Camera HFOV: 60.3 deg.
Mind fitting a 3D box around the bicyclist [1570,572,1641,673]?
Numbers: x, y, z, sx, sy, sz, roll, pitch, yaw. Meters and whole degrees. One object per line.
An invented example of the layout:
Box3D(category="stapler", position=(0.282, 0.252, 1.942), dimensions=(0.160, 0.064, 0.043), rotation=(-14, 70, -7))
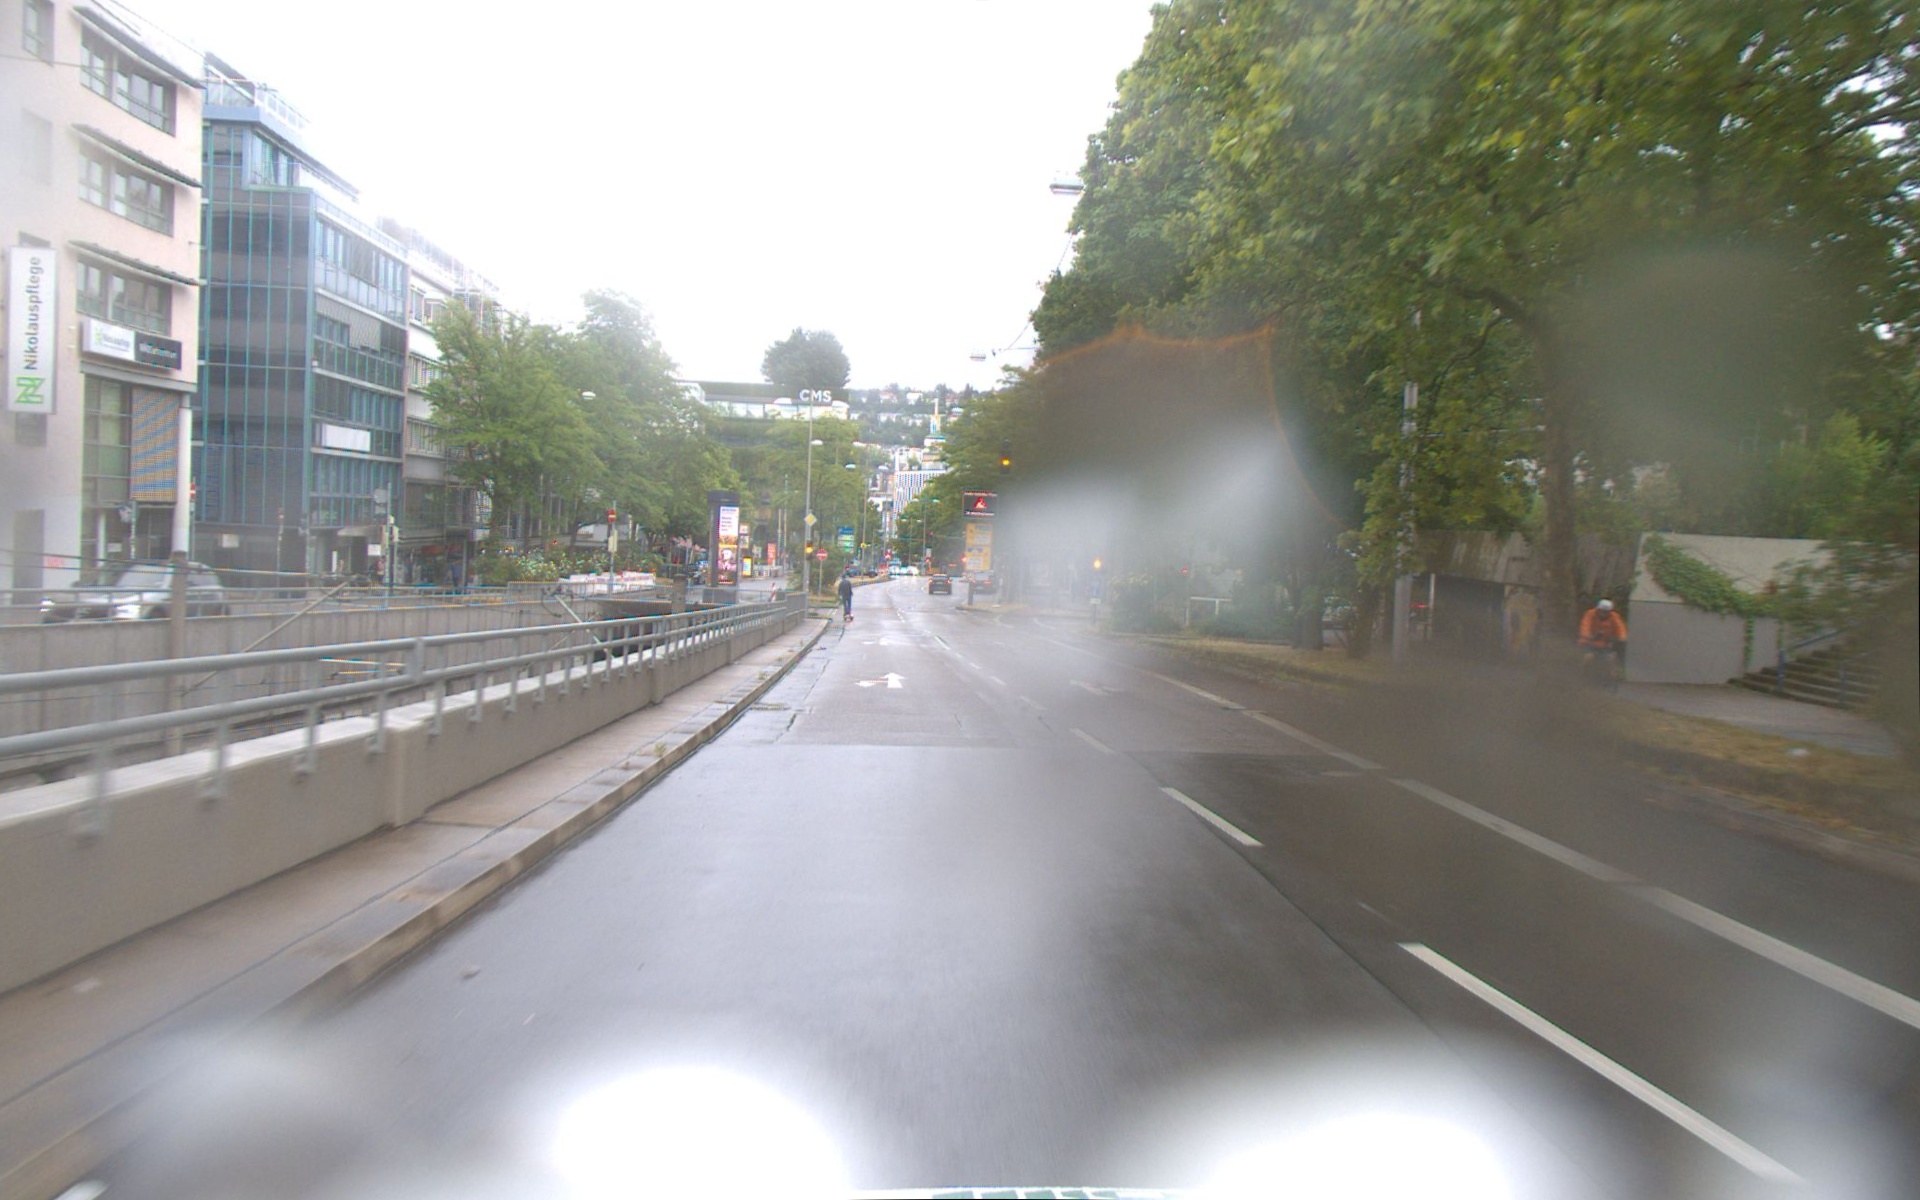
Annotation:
Box3D(category="bicyclist", position=(10.945, 0.376, 28.079), dimensions=(0.790, 1.656, 1.047), rotation=(2, 0, 4))

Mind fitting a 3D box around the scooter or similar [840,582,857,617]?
Box3D(category="scooter or similar", position=(-4.817, -0.021, 71.399), dimensions=(0.536, 1.443, 1.951), rotation=(2, 1, -9))

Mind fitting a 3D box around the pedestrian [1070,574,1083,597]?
Box3D(category="pedestrian", position=(8.115, -0.997, 115.098), dimensions=(0.770, 1.584, 0.532), rotation=(3, 0, -1))

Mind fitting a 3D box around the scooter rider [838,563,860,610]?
Box3D(category="scooter rider", position=(-4.799, -0.573, 71.388), dimensions=(0.794, 1.982, 0.821), rotation=(3, 0, -9))

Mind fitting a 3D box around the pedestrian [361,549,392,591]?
Box3D(category="pedestrian", position=(-26.981, -1.388, 76.490), dimensions=(0.846, 1.901, 0.960), rotation=(3, 0, 15))

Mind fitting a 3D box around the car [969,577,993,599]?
Box3D(category="car", position=(1.733, -1.013, 137.470), dimensions=(1.862, 1.713, 3.911), rotation=(3, 1, 1))

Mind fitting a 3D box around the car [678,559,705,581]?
Box3D(category="car", position=(-22.055, -2.512, 135.784), dimensions=(1.745, 1.582, 3.891), rotation=(3, 3, -4))

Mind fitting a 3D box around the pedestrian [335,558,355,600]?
Box3D(category="pedestrian", position=(-25.636, -0.878, 68.949), dimensions=(0.651, 1.700, 0.487), rotation=(2, 0, -4))

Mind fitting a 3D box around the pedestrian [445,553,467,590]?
Box3D(category="pedestrian", position=(-27.073, -1.538, 88.823), dimensions=(0.860, 1.900, 0.866), rotation=(3, 0, -6))

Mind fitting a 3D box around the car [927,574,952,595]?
Box3D(category="car", position=(-1.641, -1.264, 131.362), dimensions=(1.711, 1.545, 4.104), rotation=(3, 1, -3))

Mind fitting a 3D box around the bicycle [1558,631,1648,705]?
Box3D(category="bicycle", position=(10.936, 1.139, 28.211), dimensions=(0.790, 1.131, 2.199), rotation=(2, 0, 4))

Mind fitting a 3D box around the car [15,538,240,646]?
Box3D(category="car", position=(-14.875, -0.179, 29.866), dimensions=(1.799, 1.742, 4.576), rotation=(2, 1, -2))

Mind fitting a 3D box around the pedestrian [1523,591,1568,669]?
Box3D(category="pedestrian", position=(14.597, 0.733, 41.251), dimensions=(0.790, 1.897, 1.057), rotation=(1, 0, 6))
